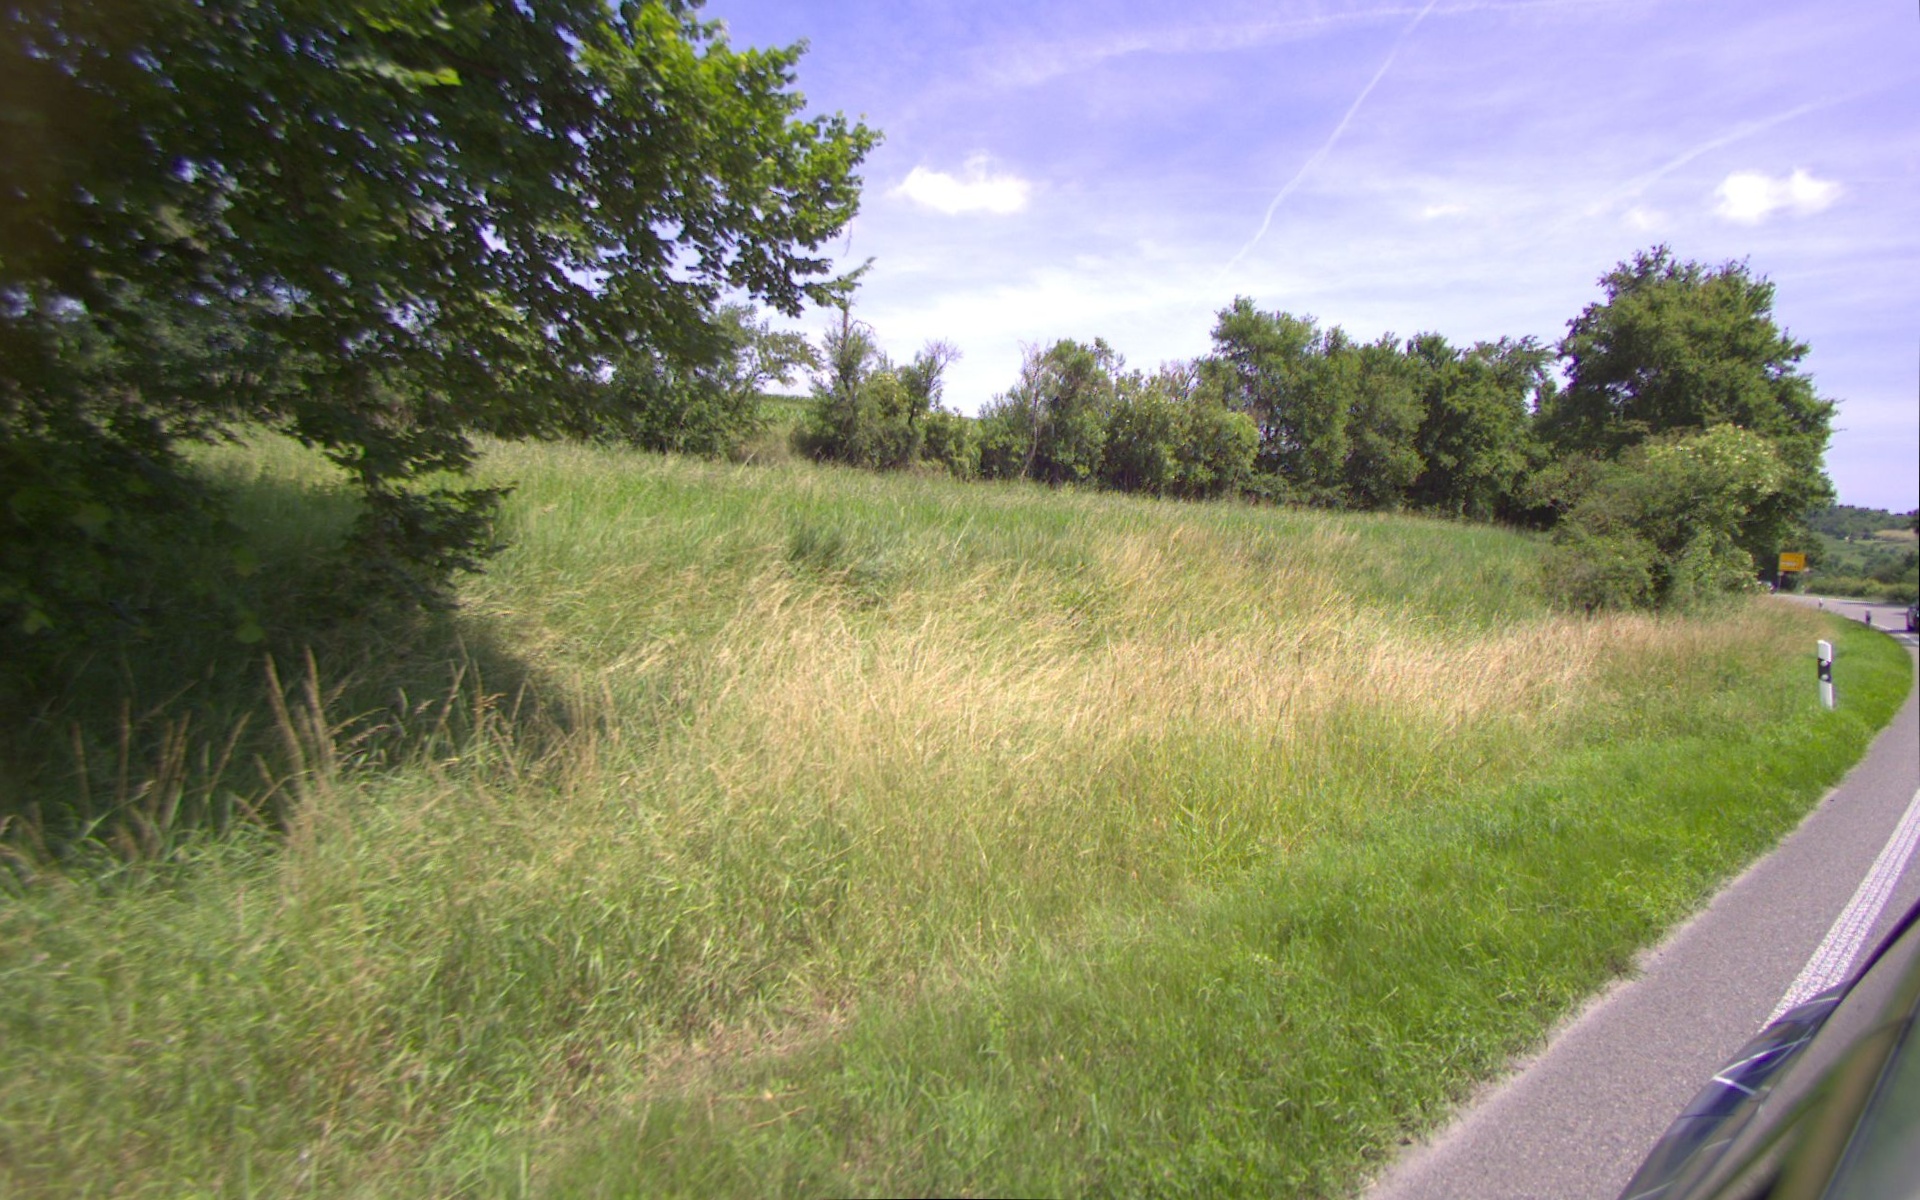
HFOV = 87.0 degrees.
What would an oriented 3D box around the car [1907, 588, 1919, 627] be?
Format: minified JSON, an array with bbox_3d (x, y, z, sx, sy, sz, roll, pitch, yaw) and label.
[{"bbox_3d":[37.591,0.315,38.361,1.775,1.467,4.547,2,1,35],"label":"car"}]
